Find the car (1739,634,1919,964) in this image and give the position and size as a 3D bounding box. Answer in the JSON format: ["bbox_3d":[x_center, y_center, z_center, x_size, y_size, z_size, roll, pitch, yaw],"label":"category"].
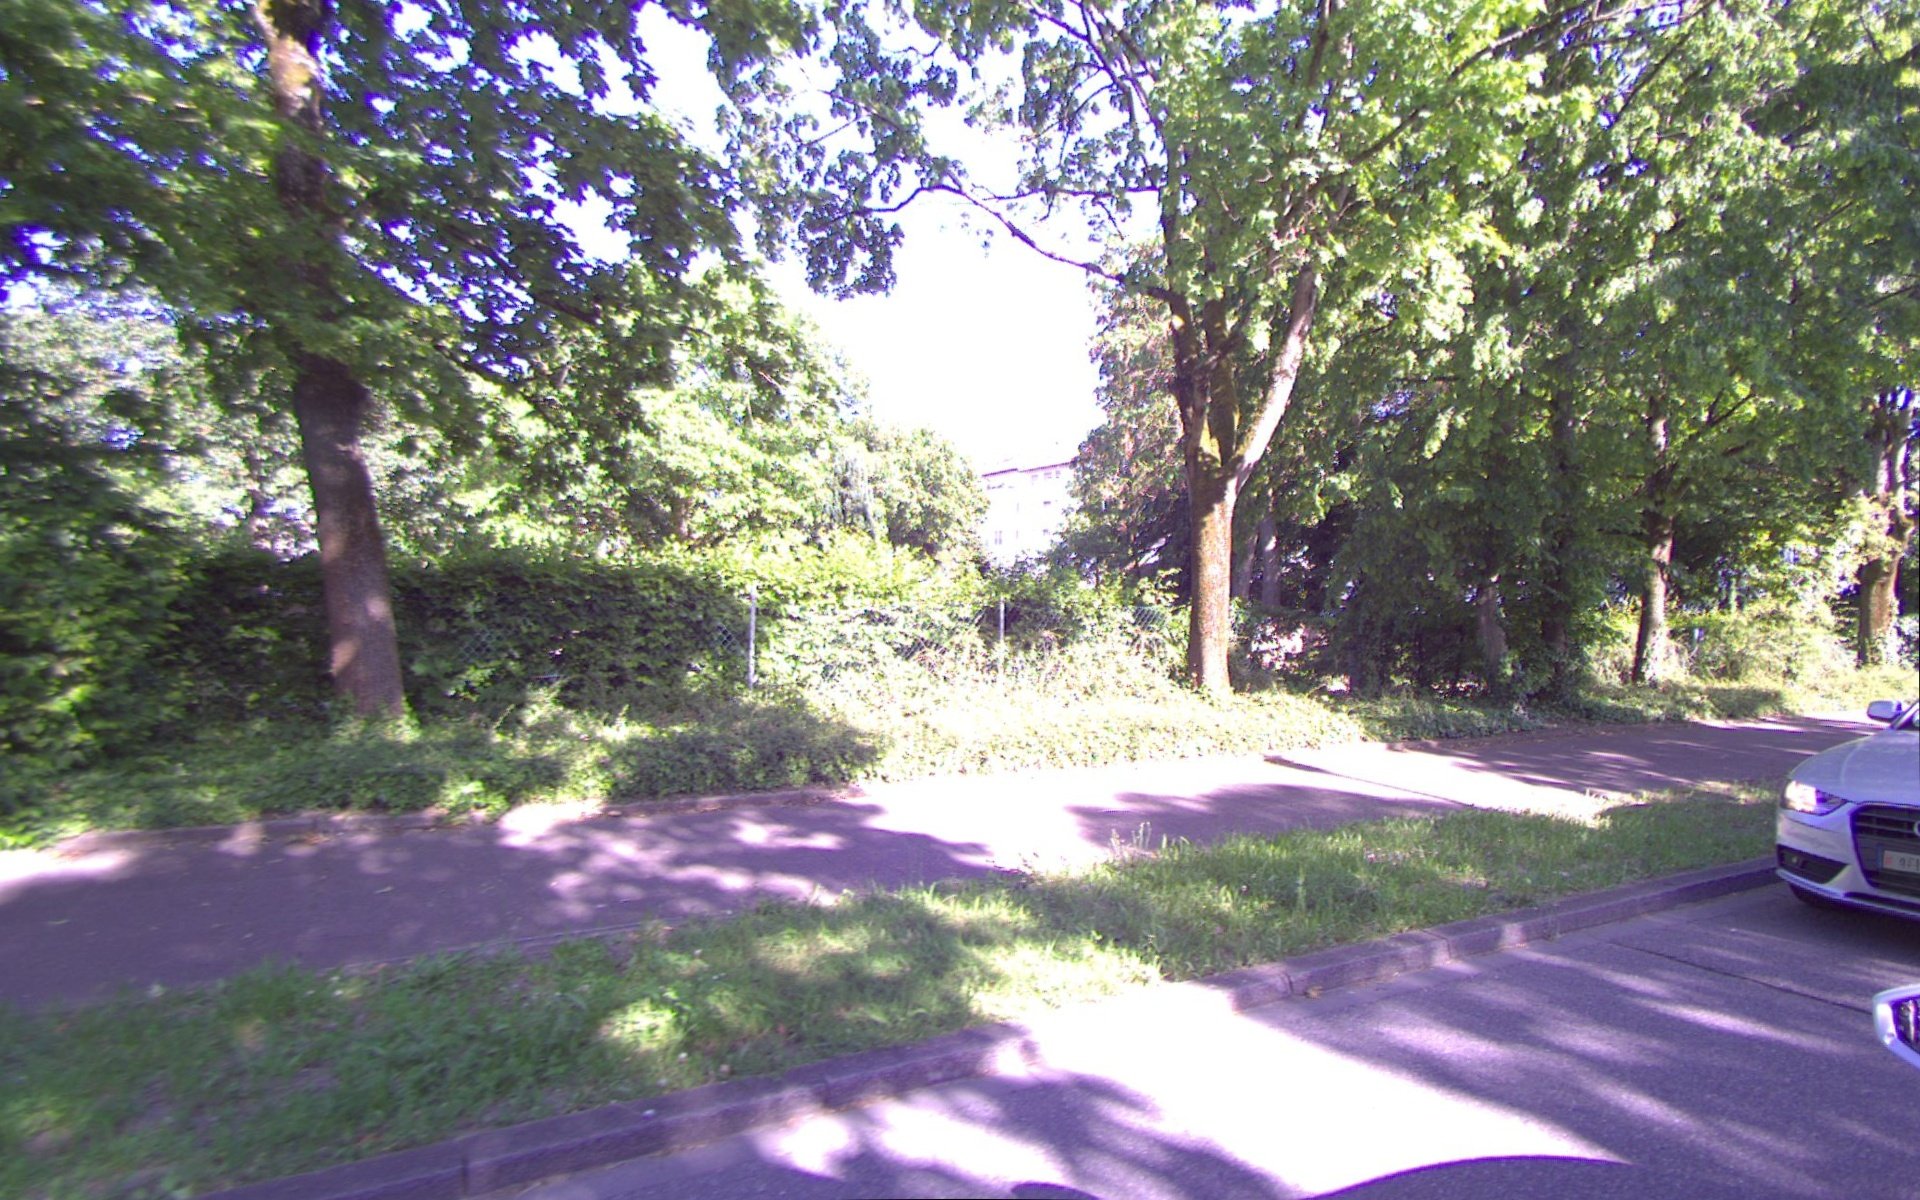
[{"bbox_3d":[6.121,0.909,5.212,4.052,1.435,1.780,1,-1,-28],"label":"car"}]
